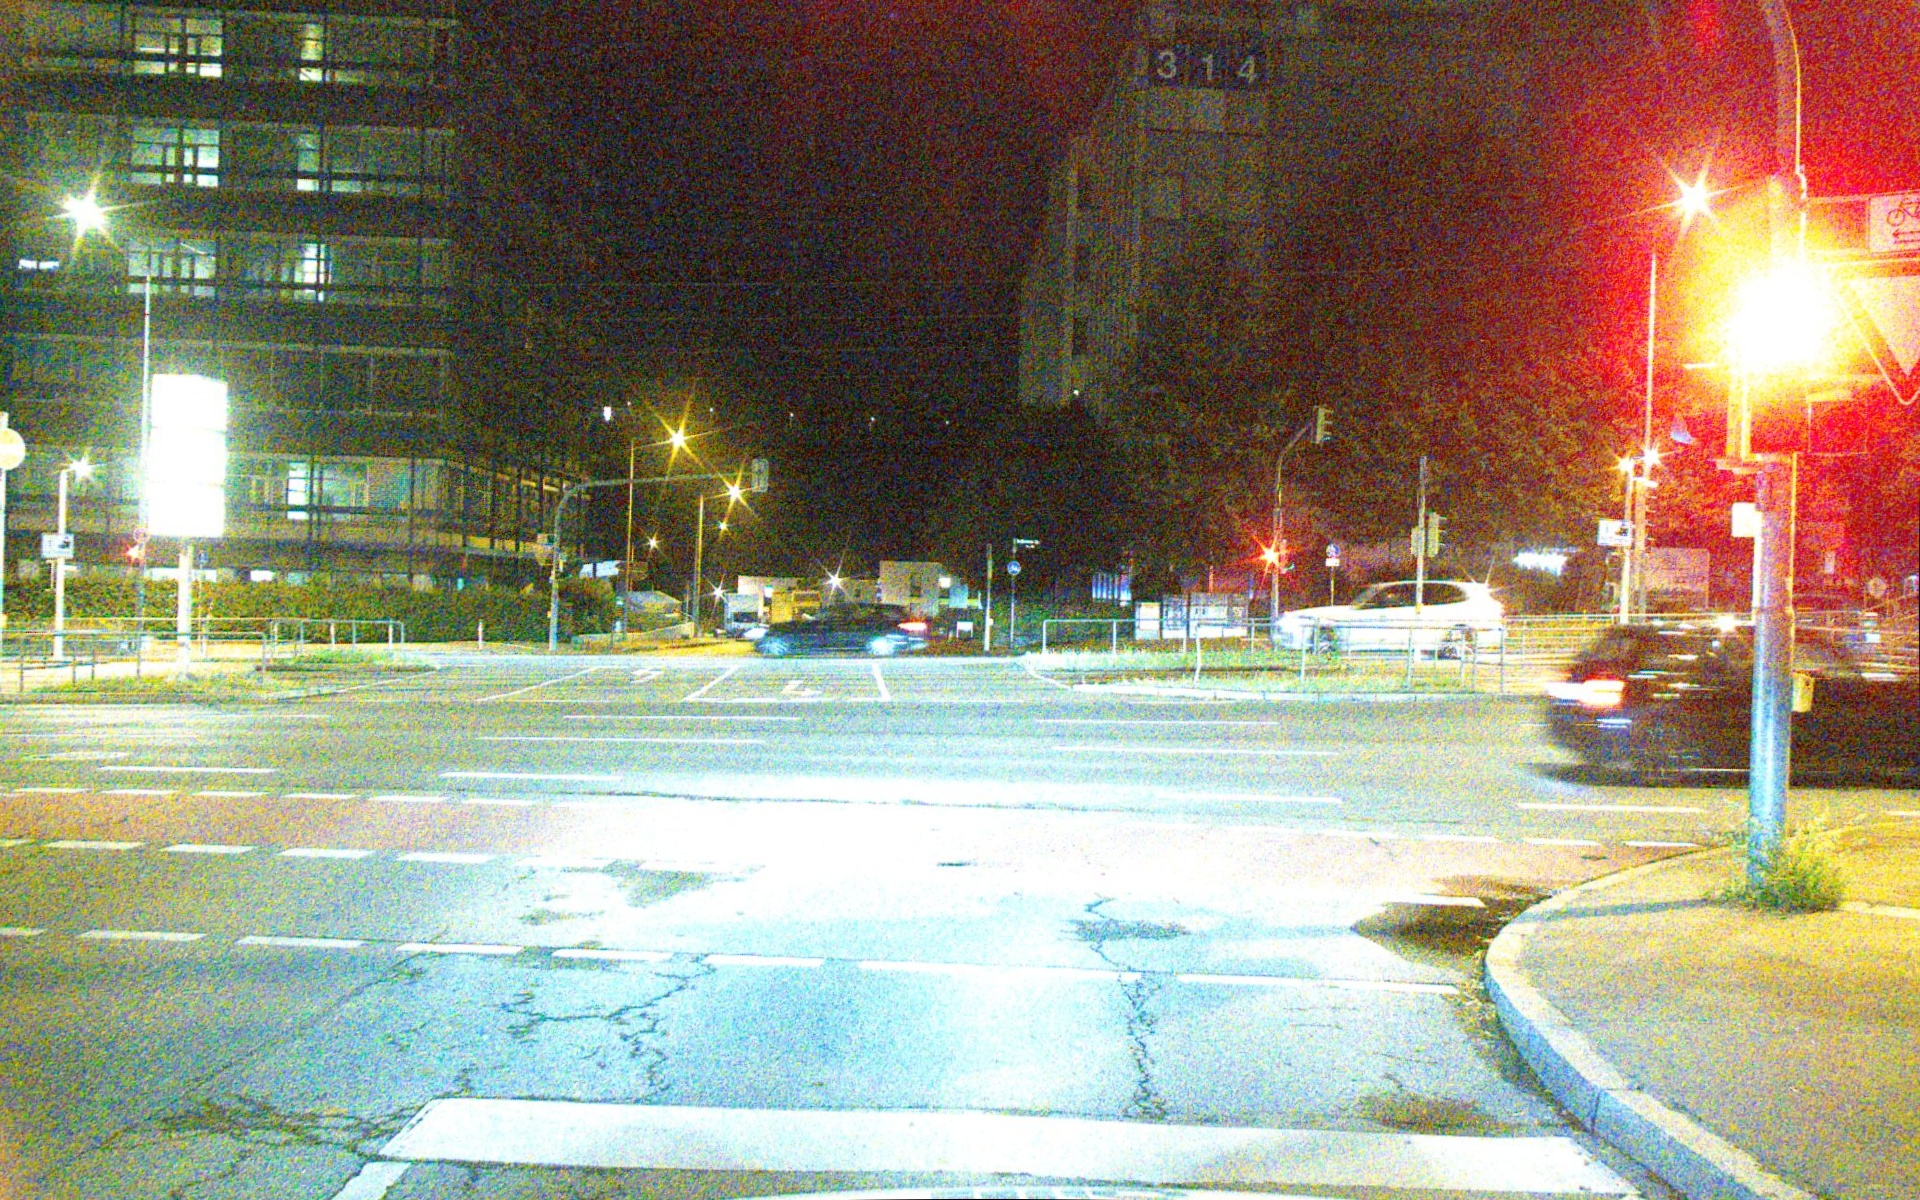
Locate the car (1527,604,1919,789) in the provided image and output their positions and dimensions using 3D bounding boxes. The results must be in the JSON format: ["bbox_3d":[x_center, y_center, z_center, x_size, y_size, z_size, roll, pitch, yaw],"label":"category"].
[{"bbox_3d":[7.451,0.853,15.387,3.797,1.499,1.659,-1,3,0],"label":"car"}]

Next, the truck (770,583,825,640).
[{"bbox_3d":[-14.631,1.022,148.600,3.307,4.927,7.868,2,-1,-17],"label":"truck"}]

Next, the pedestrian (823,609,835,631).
[{"bbox_3d":[-11.667,1.755,147.450,0.836,1.945,1.001,2,-1,-18],"label":"pedestrian"}]

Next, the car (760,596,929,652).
[{"bbox_3d":[-3.001,0.641,43.519,4.237,1.412,1.843,-1,-1,2],"label":"car"}]

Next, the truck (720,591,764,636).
[{"bbox_3d":[-15.800,0.990,119.404,2.377,3.143,6.414,2,-1,-14],"label":"truck"}]

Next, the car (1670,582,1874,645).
[{"bbox_3d":[19.334,0.305,39.498,3.976,1.449,1.844,0,2,2],"label":"car"}]

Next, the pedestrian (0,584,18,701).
[{"bbox_3d":[-14.768,0.632,24.930,0.664,1.752,0.705,1,-1,28],"label":"pedestrian"}]

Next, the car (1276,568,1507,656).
[{"bbox_3d":[9.523,0.262,36.746,4.680,1.876,1.843,0,-1,2],"label":"car"}]
